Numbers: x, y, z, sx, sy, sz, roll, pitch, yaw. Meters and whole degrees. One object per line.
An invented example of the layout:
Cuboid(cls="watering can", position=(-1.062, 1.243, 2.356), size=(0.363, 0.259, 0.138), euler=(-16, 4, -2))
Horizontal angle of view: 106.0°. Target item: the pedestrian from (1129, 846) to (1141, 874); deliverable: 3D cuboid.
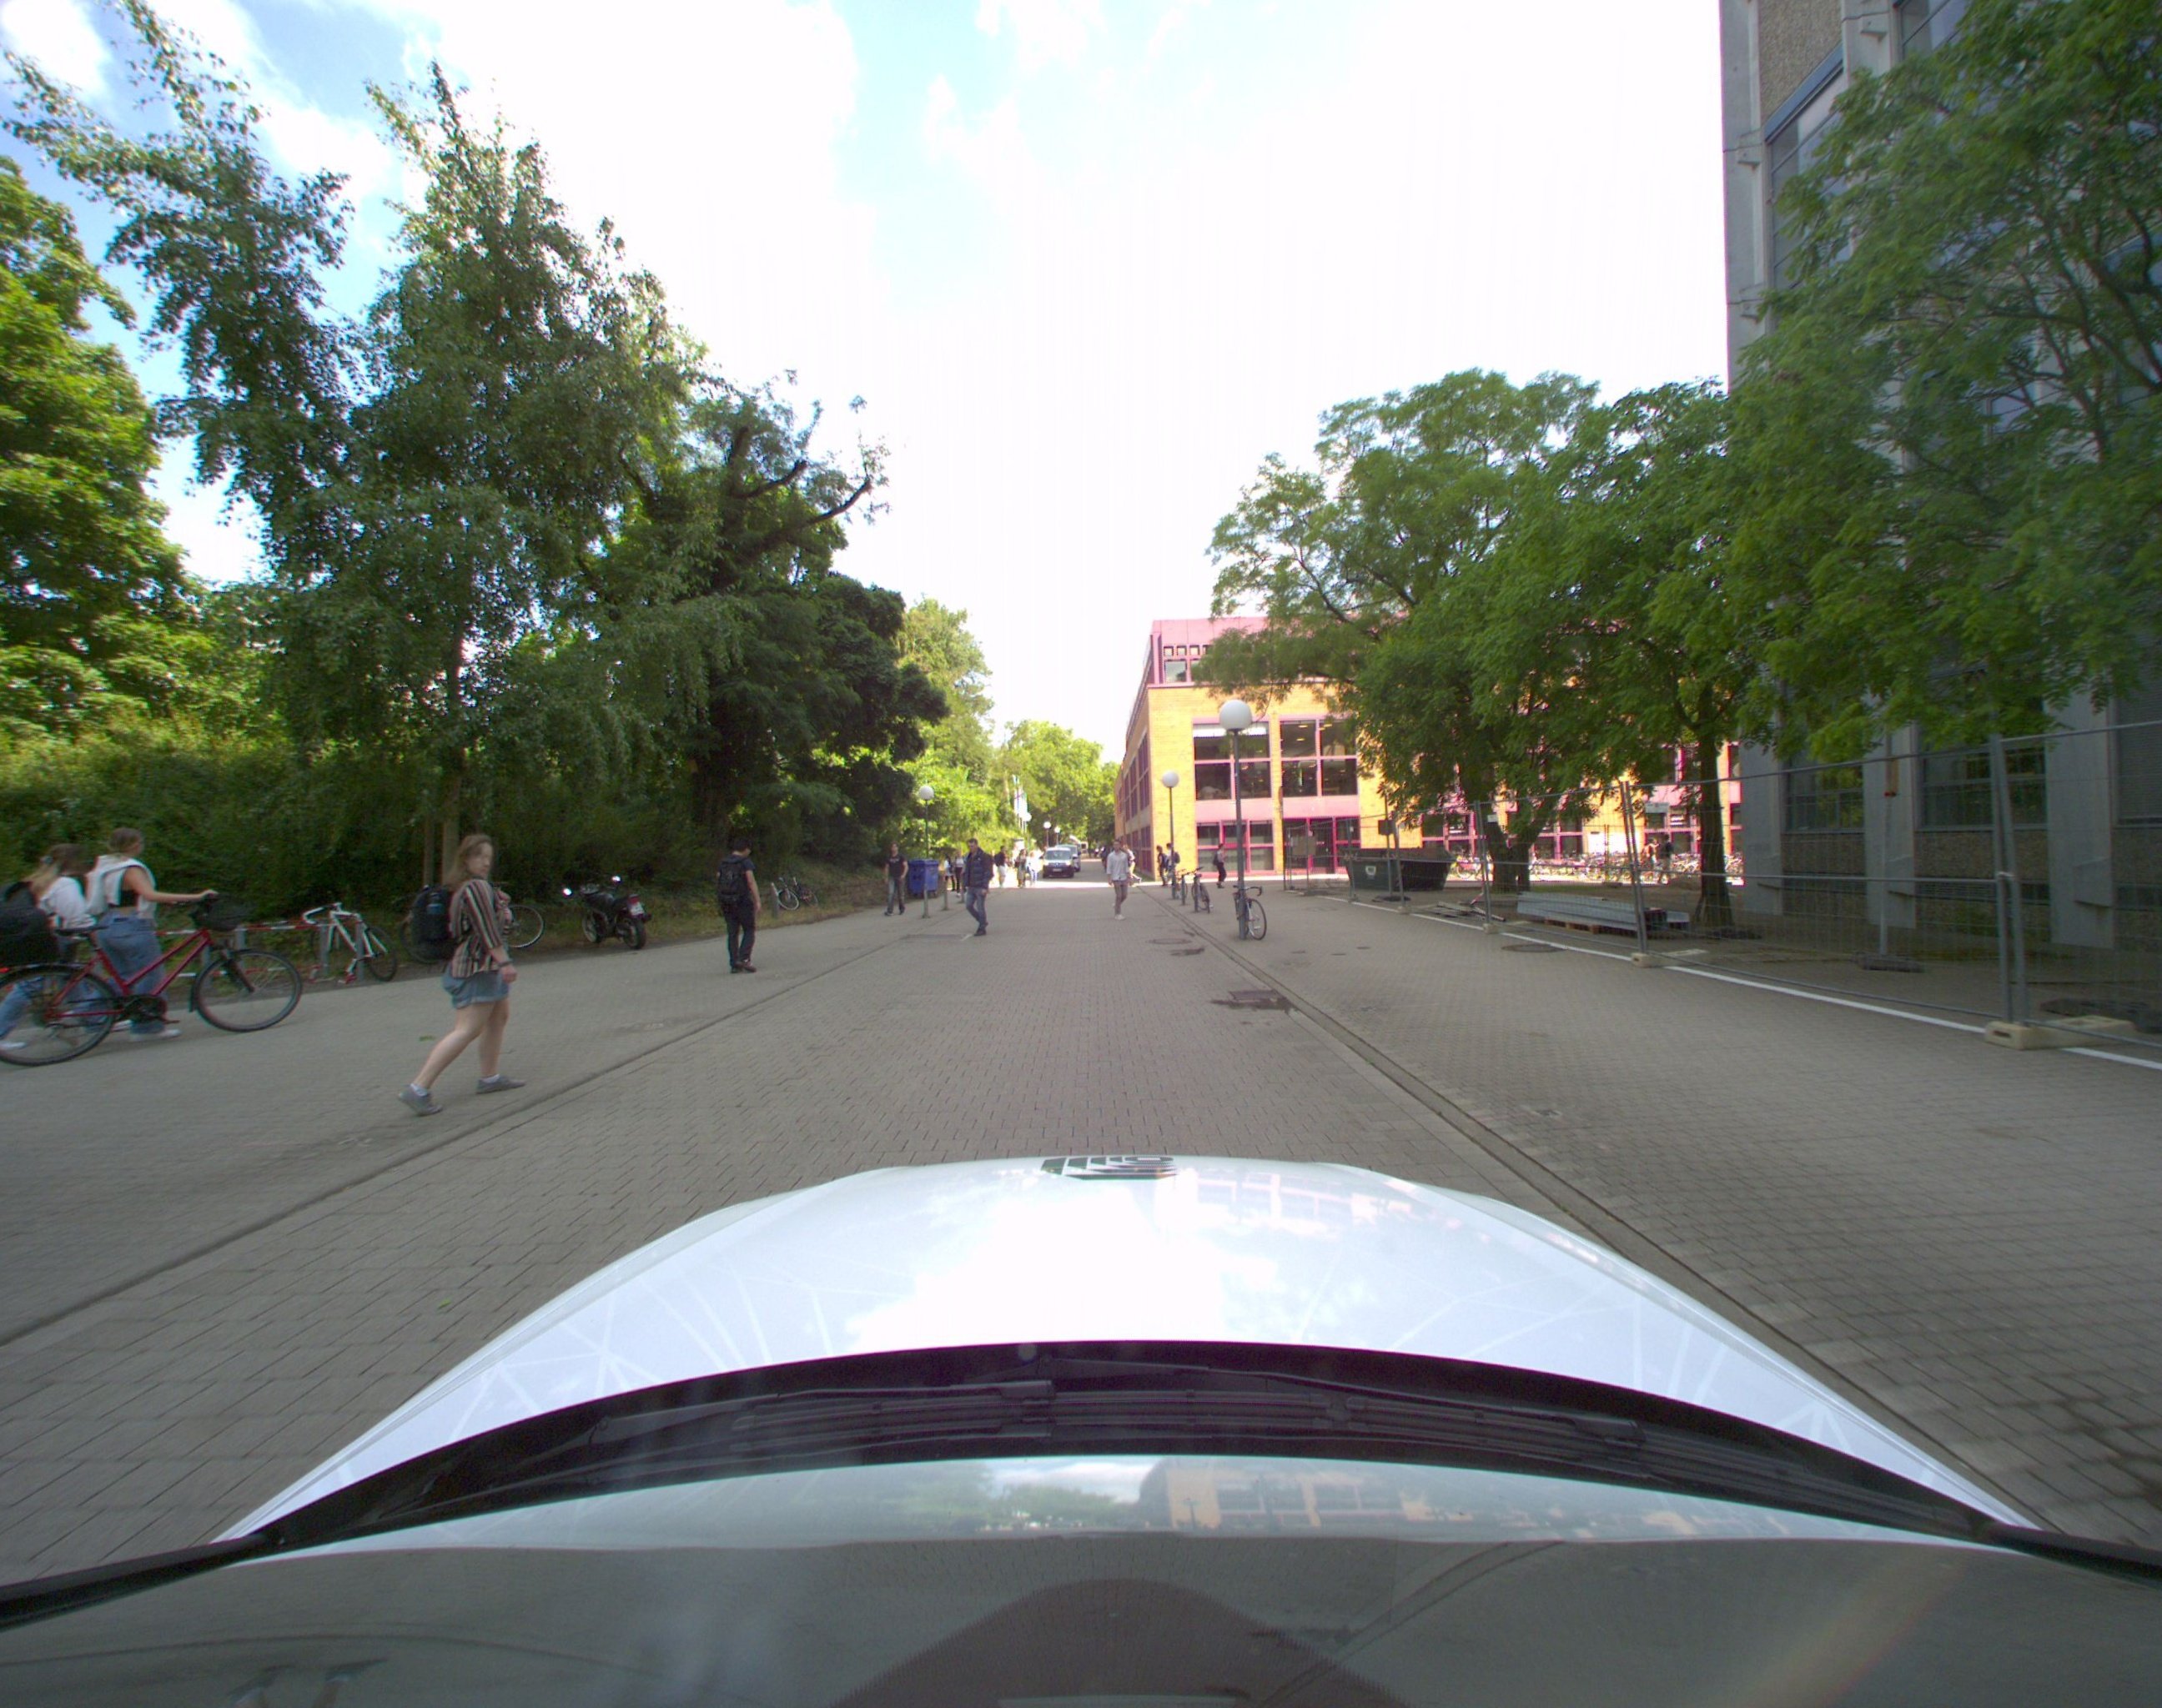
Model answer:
Cuboid(cls="pedestrian", position=(3.336, 0.367, 50.145), size=(0.680, 1.747, 0.783), euler=(-1, -1, 1))

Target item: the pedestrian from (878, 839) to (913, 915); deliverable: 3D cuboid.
Cuboid(cls="pedestrian", position=(-4.736, 0.581, 20.798), size=(0.681, 1.873, 1.119), euler=(-1, -1, -4))

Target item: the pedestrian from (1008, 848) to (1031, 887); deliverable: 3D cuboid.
Cuboid(cls="pedestrian", position=(-2.651, 0.576, 35.220), size=(0.881, 1.672, 0.560), euler=(-1, -1, 8))

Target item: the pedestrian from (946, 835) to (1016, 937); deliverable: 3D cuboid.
Cuboid(cls="pedestrian", position=(-1.902, 0.583, 15.563), size=(0.877, 1.857, 1.039), euler=(0, 0, 31))

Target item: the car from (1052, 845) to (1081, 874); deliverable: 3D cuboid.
Cuboid(cls="car", position=(-1.011, 0.361, 59.267), size=(1.877, 1.974, 5.215), euler=(-1, 0, 1))

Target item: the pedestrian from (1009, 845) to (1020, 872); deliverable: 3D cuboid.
Cuboid(cls="pedestrian", position=(-4.730, 0.308, 57.639), size=(0.680, 1.844, 0.783), euler=(-1, -1, 1))

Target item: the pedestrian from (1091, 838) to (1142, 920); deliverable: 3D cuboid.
Cuboid(cls="pedestrian", position=(0.824, 0.550, 19.011), size=(0.787, 1.845, 1.109), euler=(0, 0, -24))

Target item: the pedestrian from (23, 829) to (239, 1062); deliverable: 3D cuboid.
Cuboid(cls="pedestrian", position=(-7.625, 0.669, 6.566), size=(0.669, 1.724, 0.943), euler=(-1, 1, 26))

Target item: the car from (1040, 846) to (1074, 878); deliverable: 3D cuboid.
Cuboid(cls="car", position=(-1.367, 0.425, 48.120), size=(1.784, 1.761, 4.482), euler=(-2, 0, 1))

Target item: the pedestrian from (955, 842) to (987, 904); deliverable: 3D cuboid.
Cuboid(cls="pedestrian", position=(-3.444, 0.580, 25.466), size=(0.720, 1.881, 1.084), euler=(-1, -1, 6))

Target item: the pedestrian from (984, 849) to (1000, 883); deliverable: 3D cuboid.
Cuboid(cls="pedestrian", position=(-4.315, 0.559, 39.611), size=(0.681, 1.620, 0.977), euler=(-1, -1, -4))

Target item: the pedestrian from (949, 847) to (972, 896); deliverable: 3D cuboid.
Cuboid(cls="pedestrian", position=(-4.339, 0.614, 29.319), size=(0.681, 1.728, 1.001), euler=(-1, 0, -3))

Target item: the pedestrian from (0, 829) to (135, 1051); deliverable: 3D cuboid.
Cuboid(cls="pedestrian", position=(-8.593, 0.666, 6.772), size=(0.678, 1.724, 0.735), euler=(-1, 1, 24))

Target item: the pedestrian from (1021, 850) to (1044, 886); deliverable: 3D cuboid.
Cuboid(cls="pedestrian", position=(-2.178, 0.619, 36.415), size=(0.882, 1.542, 0.744), euler=(-1, -1, 6))

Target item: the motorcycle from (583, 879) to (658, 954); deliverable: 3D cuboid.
Cuboid(cls="motorcycle", position=(-7.449, 0.974, 13.127), size=(2.000, 1.047, 0.477), euler=(1, 1, 43))

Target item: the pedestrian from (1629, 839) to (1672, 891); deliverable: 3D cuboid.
Cuboid(cls="pedestrian", position=(19.624, 0.380, 28.083), size=(0.900, 1.728, 0.683), euler=(-2, -2, -4))

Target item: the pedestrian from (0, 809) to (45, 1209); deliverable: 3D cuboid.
Cuboid(cls="pedestrian", position=(-5.209, 0.687, 3.342), size=(0.710, 1.724, 1.071), euler=(-1, 1, 33))

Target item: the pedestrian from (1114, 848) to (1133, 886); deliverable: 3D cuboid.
Cuboid(cls="pedestrian", position=(1.839, 0.554, 35.292), size=(0.778, 1.620, 0.684), euler=(-1, -1, -2))

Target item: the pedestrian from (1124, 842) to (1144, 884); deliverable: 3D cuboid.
Cuboid(cls="pedestrian", position=(2.345, 0.387, 36.119), size=(0.823, 1.844, 0.684), euler=(-1, -1, -2))

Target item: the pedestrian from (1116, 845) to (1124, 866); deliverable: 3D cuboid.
Cuboid(cls="pedestrian", position=(3.181, 0.150, 67.284), size=(0.584, 1.672, 0.699), euler=(-3, -1, 2))

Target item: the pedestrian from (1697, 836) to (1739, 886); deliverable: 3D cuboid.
Cuboid(cls="pedestrian", position=(22.697, 0.257, 29.036), size=(0.900, 1.728, 0.683), euler=(-2, -2, -4))

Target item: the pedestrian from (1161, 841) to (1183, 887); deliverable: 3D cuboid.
Cuboid(cls="pedestrian", position=(3.673, 0.397, 32.914), size=(0.762, 1.794, 0.589), euler=(-3, -1, 8))

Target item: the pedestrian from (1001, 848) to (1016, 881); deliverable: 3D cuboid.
Cuboid(cls="pedestrian", position=(-3.538, 0.520, 39.943), size=(0.681, 1.620, 0.912), euler=(-1, -1, -4))

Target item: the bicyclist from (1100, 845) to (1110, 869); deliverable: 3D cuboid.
Cuboid(cls="bicyclist", position=(1.669, 0.203, 56.957), size=(0.585, 1.716, 0.665), euler=(-1, 0, -3))

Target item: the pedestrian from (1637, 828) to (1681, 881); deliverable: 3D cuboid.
Cuboid(cls="pedestrian", position=(19.380, 0.027, 27.311), size=(0.900, 1.728, 0.683), euler=(-2, -2, -4))

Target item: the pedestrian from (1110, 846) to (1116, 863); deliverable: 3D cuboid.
Cuboid(cls="pedestrian", position=(3.210, 0.090, 81.415), size=(0.584, 1.672, 0.818), euler=(-3, -1, 2))

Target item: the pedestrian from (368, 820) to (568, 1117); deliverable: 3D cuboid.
Cuboid(cls="pedestrian", position=(-3.845, 0.661, 5.154), size=(0.679, 1.724, 0.734), euler=(0, 0, 14))

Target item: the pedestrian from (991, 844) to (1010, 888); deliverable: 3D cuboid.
Cuboid(cls="pedestrian", position=(-3.431, 0.523, 34.812), size=(0.680, 1.844, 0.783), euler=(-1, -1, 1))

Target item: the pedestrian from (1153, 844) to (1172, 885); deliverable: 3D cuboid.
Cuboid(cls="pedestrian", position=(3.359, 0.424, 33.655), size=(0.692, 1.672, 0.589), euler=(-3, -1, 8))

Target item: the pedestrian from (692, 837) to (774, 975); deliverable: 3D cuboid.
Cuboid(cls="pedestrian", position=(-4.532, 0.649, 10.661), size=(0.682, 1.724, 0.903), euler=(0, 0, -1))

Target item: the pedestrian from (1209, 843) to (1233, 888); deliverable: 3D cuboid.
Cuboid(cls="pedestrian", position=(5.213, 0.423, 30.408), size=(0.847, 1.651, 0.589), euler=(-1, -1, 8))
